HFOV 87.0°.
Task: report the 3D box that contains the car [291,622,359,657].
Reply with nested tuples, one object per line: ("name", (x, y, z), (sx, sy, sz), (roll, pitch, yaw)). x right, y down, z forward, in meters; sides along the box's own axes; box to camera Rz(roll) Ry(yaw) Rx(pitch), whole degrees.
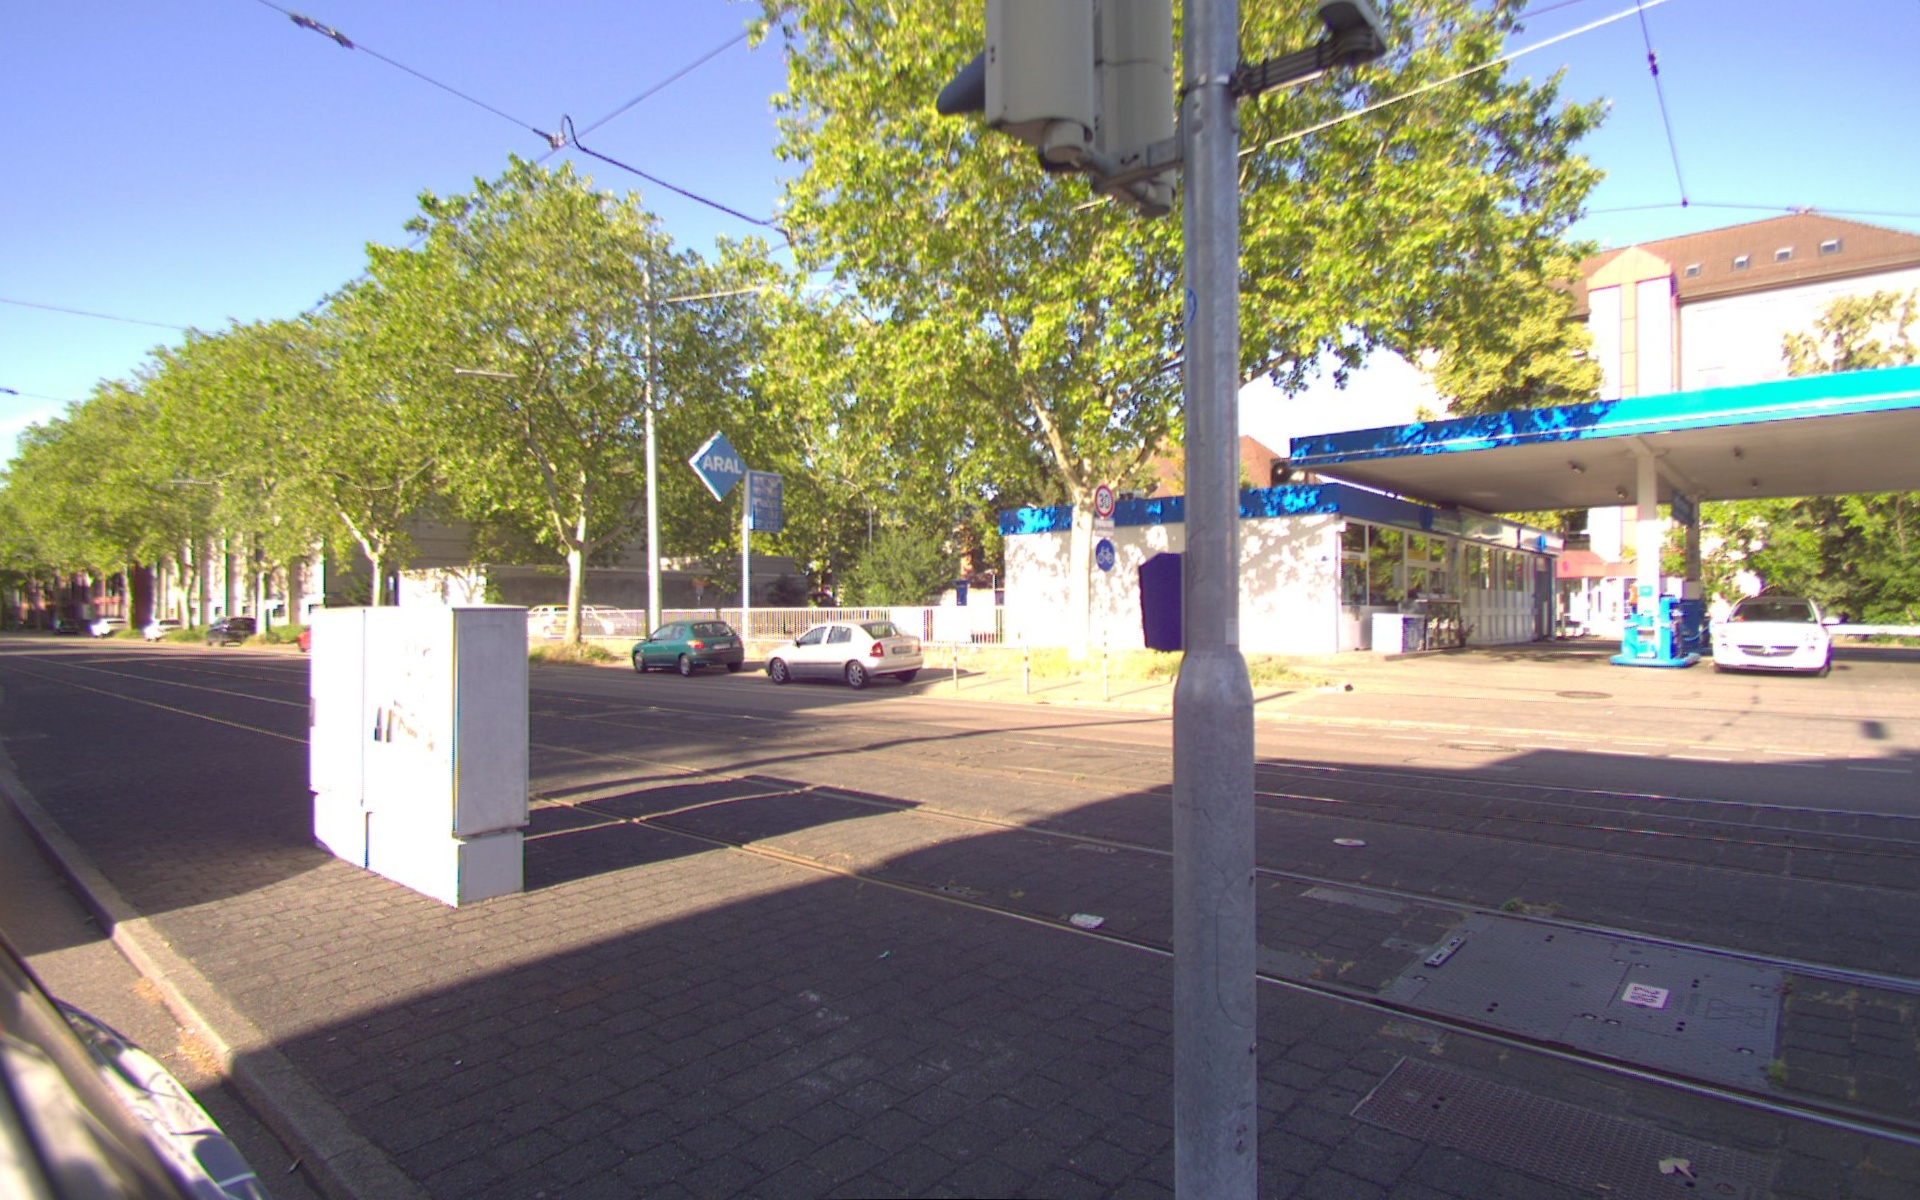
("car", (-28.905, 1.765, 46.048), (3.858, 1.440, 1.695), (-1, 0, 43))

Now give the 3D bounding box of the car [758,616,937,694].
("car", (-2.567, 1.162, 22.598), (3.857, 1.497, 1.823), (-1, 1, 42))

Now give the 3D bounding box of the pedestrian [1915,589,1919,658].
("pedestrian", (25.582, 0.619, 26.181), (0.887, 1.815, 0.907), (-1, -1, 15))

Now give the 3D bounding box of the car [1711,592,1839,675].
("car", (15.947, 0.611, 19.784), (1.793, 1.453, 3.946), (-1, -1, 40))

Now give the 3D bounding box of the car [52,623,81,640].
("car", (-84.866, 2.993, 96.119), (3.858, 1.495, 1.735), (-1, 0, 43))

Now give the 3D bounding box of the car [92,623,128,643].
("car", (-66.919, 2.564, 79.644), (3.858, 1.495, 1.735), (-1, 0, 43))

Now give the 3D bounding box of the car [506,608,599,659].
("car", (-17.038, 1.386, 42.265), (3.996, 2.029, 1.974), (-1, -1, 39))

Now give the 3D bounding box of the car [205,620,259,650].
("car", (-40.669, 1.944, 56.488), (3.858, 1.557, 1.735), (-1, 0, 43))

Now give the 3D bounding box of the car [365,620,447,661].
("car", (-21.978, 1.580, 40.094), (3.858, 1.468, 1.735), (-1, 0, 43))

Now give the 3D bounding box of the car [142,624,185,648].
("car", (-53.631, 2.385, 68.124), (3.858, 1.495, 1.735), (-1, 0, 43))

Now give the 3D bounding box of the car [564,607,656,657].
("car", (-15.139, 1.356, 43.693), (3.996, 2.029, 1.974), (-1, -1, 39))

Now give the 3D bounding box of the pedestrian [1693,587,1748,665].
("pedestrian", (16.282, 0.549, 21.676), (0.637, 1.642, 0.814), (1, -2, -42))

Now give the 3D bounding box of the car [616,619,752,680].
("car", (-7.427, 1.269, 27.078), (3.858, 1.408, 1.722), (-1, 1, 43))
